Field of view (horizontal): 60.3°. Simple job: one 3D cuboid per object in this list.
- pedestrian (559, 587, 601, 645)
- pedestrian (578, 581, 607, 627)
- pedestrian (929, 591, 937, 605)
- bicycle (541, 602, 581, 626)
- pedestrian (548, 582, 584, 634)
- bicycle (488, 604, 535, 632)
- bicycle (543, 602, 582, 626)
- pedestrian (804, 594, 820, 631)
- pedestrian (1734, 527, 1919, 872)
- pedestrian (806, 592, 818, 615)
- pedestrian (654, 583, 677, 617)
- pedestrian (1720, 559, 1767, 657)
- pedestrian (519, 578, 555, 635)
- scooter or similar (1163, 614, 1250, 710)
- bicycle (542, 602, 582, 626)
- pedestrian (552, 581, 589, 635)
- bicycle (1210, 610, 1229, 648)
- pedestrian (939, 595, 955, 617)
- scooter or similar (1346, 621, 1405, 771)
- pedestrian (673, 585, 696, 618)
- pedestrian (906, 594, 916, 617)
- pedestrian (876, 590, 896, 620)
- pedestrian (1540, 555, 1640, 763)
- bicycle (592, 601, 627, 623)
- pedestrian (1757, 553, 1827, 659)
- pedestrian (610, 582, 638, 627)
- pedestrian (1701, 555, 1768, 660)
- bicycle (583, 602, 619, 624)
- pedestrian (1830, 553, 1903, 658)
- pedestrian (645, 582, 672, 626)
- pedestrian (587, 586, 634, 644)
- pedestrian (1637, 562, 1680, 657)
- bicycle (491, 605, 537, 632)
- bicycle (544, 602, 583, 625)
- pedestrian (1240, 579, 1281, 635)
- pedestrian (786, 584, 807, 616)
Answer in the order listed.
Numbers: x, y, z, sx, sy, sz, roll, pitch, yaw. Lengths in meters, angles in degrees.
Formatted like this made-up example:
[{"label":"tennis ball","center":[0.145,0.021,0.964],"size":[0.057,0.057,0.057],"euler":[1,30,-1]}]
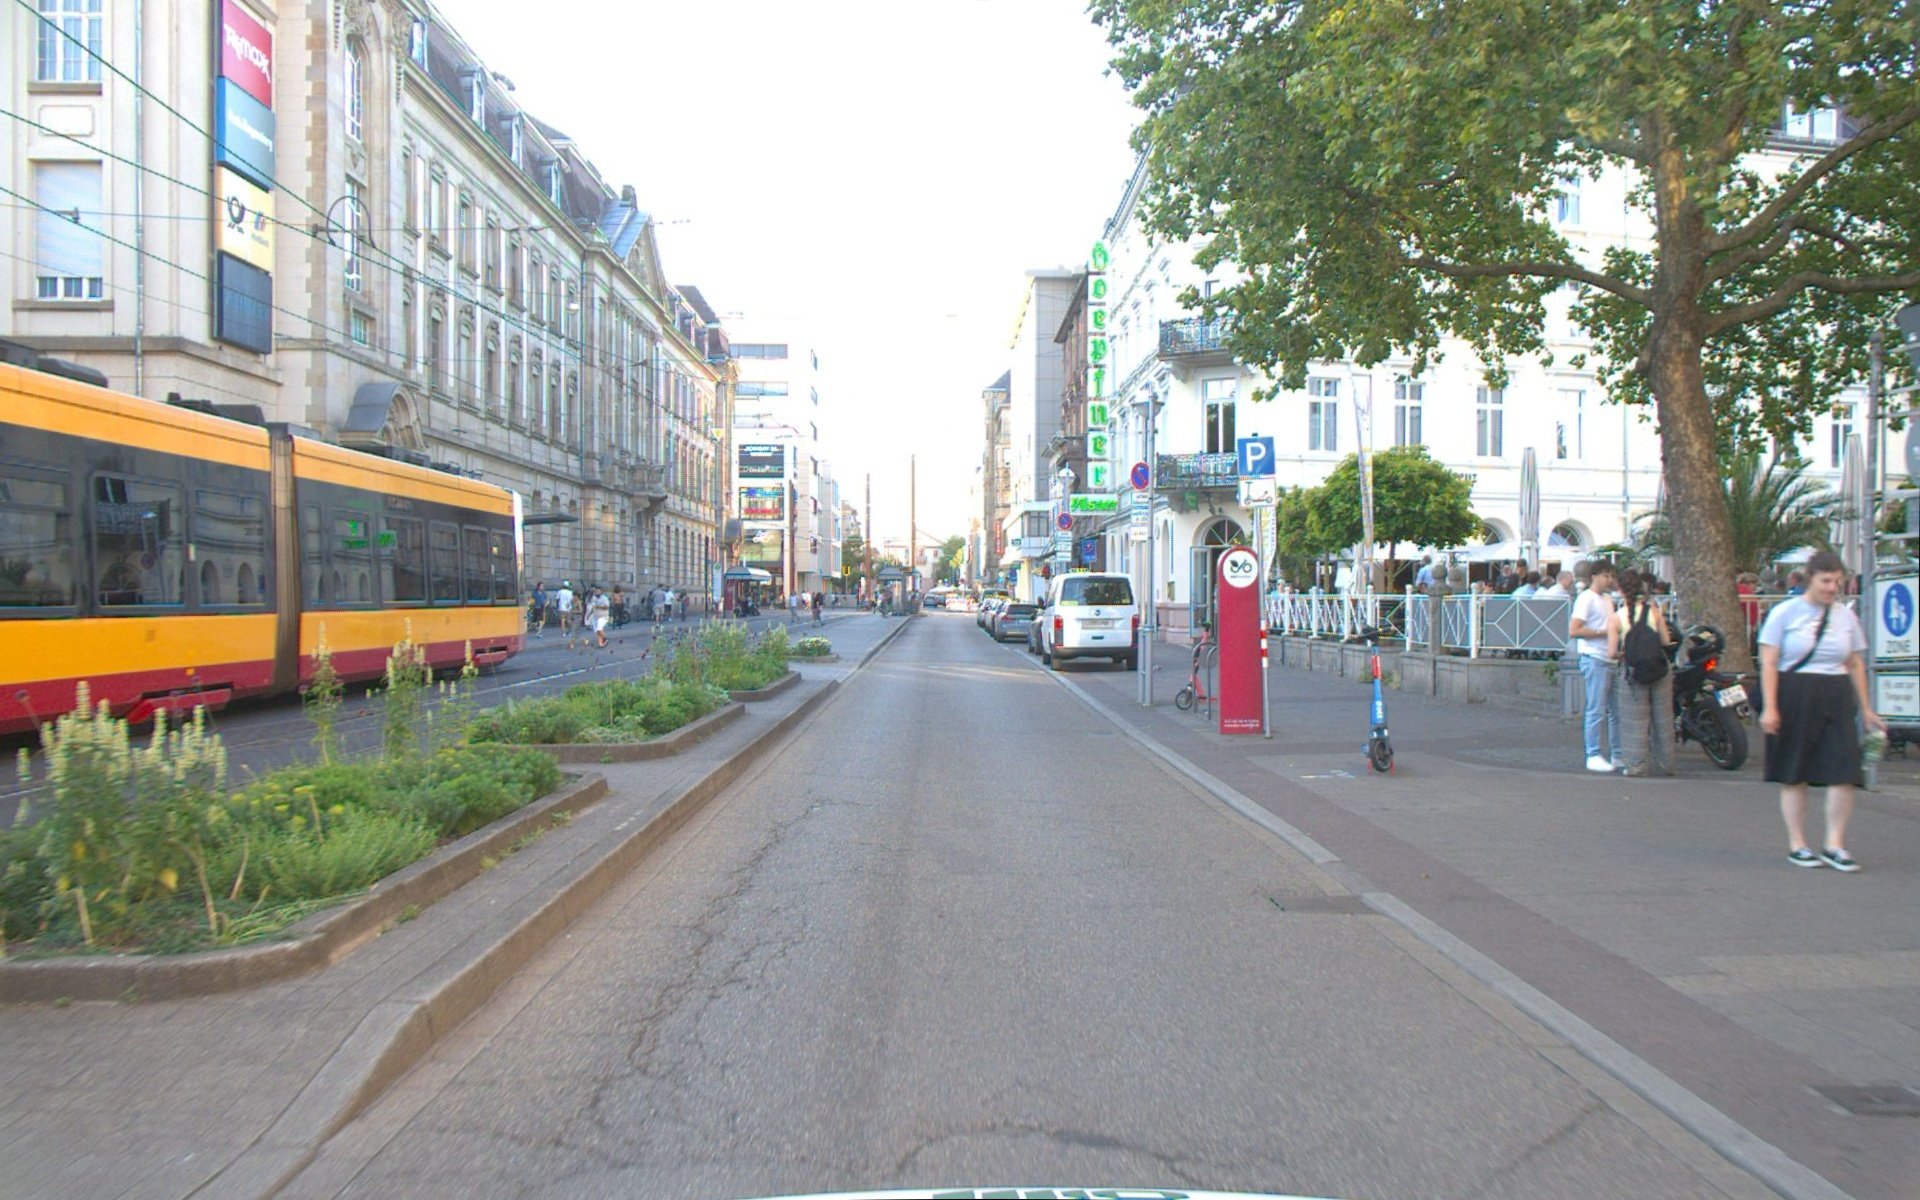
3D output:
[{"label":"pedestrian","center":[-10.274,0.448,44.757],"size":[0.746,1.540,0.858],"euler":[-2,-2,42]},{"label":"pedestrian","center":[-14.026,0.164,63.174],"size":[1.030,1.715,0.906],"euler":[0,-2,-10]},{"label":"pedestrian","center":[-3.556,-0.278,215.906],"size":[0.768,1.765,0.809],"euler":[-2,-2,39]},{"label":"bicycle","center":[-16.101,0.557,66.752],"size":[1.555,0.965,0.358],"euler":[0,-2,-13]},{"label":"pedestrian","center":[-13.631,0.282,57.273],"size":[0.855,1.750,0.882],"euler":[-1,-2,23]},{"label":"bicycle","center":[-15.635,0.634,57.643],"size":[1.555,0.965,0.358],"euler":[0,-2,-13]},{"label":"bicycle","center":[-16.231,0.561,67.601],"size":[1.555,0.965,0.358],"euler":[0,-2,-13]},{"label":"pedestrian","center":[-6.819,0.574,76.178],"size":[0.676,1.665,0.580],"euler":[0,0,-9]},{"label":"pedestrian","center":[4.886,0.532,9.261],"size":[0.699,1.835,0.824],"euler":[-1,-1,2]},{"label":"pedestrian","center":[-12.807,0.294,142.703],"size":[0.891,1.962,0.847],"euler":[0,0,-17]},{"label":"pedestrian","center":[-14.983,-0.008,84.151],"size":[1.033,1.715,0.903],"euler":[0,0,-20]},{"label":"pedestrian","center":[10.637,0.115,22.451],"size":[0.464,1.307,0.540],"euler":[-1,-2,15]},{"label":"pedestrian","center":[-13.214,0.212,51.696],"size":[0.854,1.740,1.131],"euler":[0,-2,0]},{"label":"scooter or similar","center":[3.291,0.823,22.121],"size":[1.102,1.237,0.300],"euler":[-1,0,0]},{"label":"bicycle","center":[-16.183,0.563,67.201],"size":[1.554,0.965,0.358],"euler":[0,-2,-12]},{"label":"pedestrian","center":[-12.492,0.262,53.080],"size":[0.860,1.682,0.876],"euler":[-1,-2,12]},{"label":"bicycle","center":[6.439,0.734,41.074],"size":[0.245,0.918,1.373],"euler":[0,-2,-1]},{"label":"pedestrian","center":[-1.200,0.568,150.078],"size":[1.210,1.962,1.017],"euler":[0,0,-17]},{"label":"scooter or similar","center":[3.656,0.817,14.598],"size":[0.308,1.243,1.273],"euler":[-1,0,6]},{"label":"pedestrian","center":[-14.343,0.090,86.184],"size":[1.033,1.715,0.903],"euler":[0,0,-20]},{"label":"pedestrian","center":[-3.401,0.374,115.355],"size":[0.601,1.550,0.619],"euler":[0,-2,-10]},{"label":"pedestrian","center":[-4.402,0.303,98.834],"size":[1.026,1.715,0.909],"euler":[-1,-2,10]},{"label":"pedestrian","center":[5.442,0.507,14.314],"size":[0.601,1.747,0.662],"euler":[0,-2,1]},{"label":"bicycle","center":[-16.049,0.550,75.734],"size":[1.555,0.965,0.358],"euler":[0,-1,-13]},{"label":"pedestrian","center":[10.530,0.089,20.954],"size":[0.630,1.307,0.741],"euler":[-1,-2,15]},{"label":"pedestrian","center":[-13.067,0.171,64.279],"size":[1.030,1.715,0.906],"euler":[0,-2,-10]},{"label":"pedestrian","center":[9.915,0.103,21.188],"size":[0.630,1.307,0.741],"euler":[-1,-2,15]},{"label":"bicycle","center":[-16.051,0.588,74.016],"size":[1.555,0.965,0.358],"euler":[0,-2,-13]},{"label":"pedestrian","center":[11.538,0.083,21.071],"size":[0.630,1.307,0.741],"euler":[-1,-2,15]},{"label":"pedestrian","center":[-11.924,0.171,65.444],"size":[1.030,1.715,0.906],"euler":[0,-2,-10]},{"label":"pedestrian","center":[-9.360,0.415,44.275],"size":[0.706,1.540,1.031],"euler":[-2,-2,42]},{"label":"pedestrian","center":[9.799,0.140,23.217],"size":[0.464,1.307,0.540],"euler":[-1,-2,15]},{"label":"bicycle","center":[-15.792,0.647,58.536],"size":[1.555,0.965,0.358],"euler":[0,-2,-13]},{"label":"bicycle","center":[-16.295,0.560,68.034],"size":[1.555,0.965,0.358],"euler":[0,-2,-13]},{"label":"pedestrian","center":[7.197,0.181,39.663],"size":[0.806,1.329,0.869],"euler":[0,-2,-2]},{"label":"pedestrian","center":[-8.795,0.009,89.166],"size":[1.027,1.715,0.908],"euler":[0,0,-1]}]
